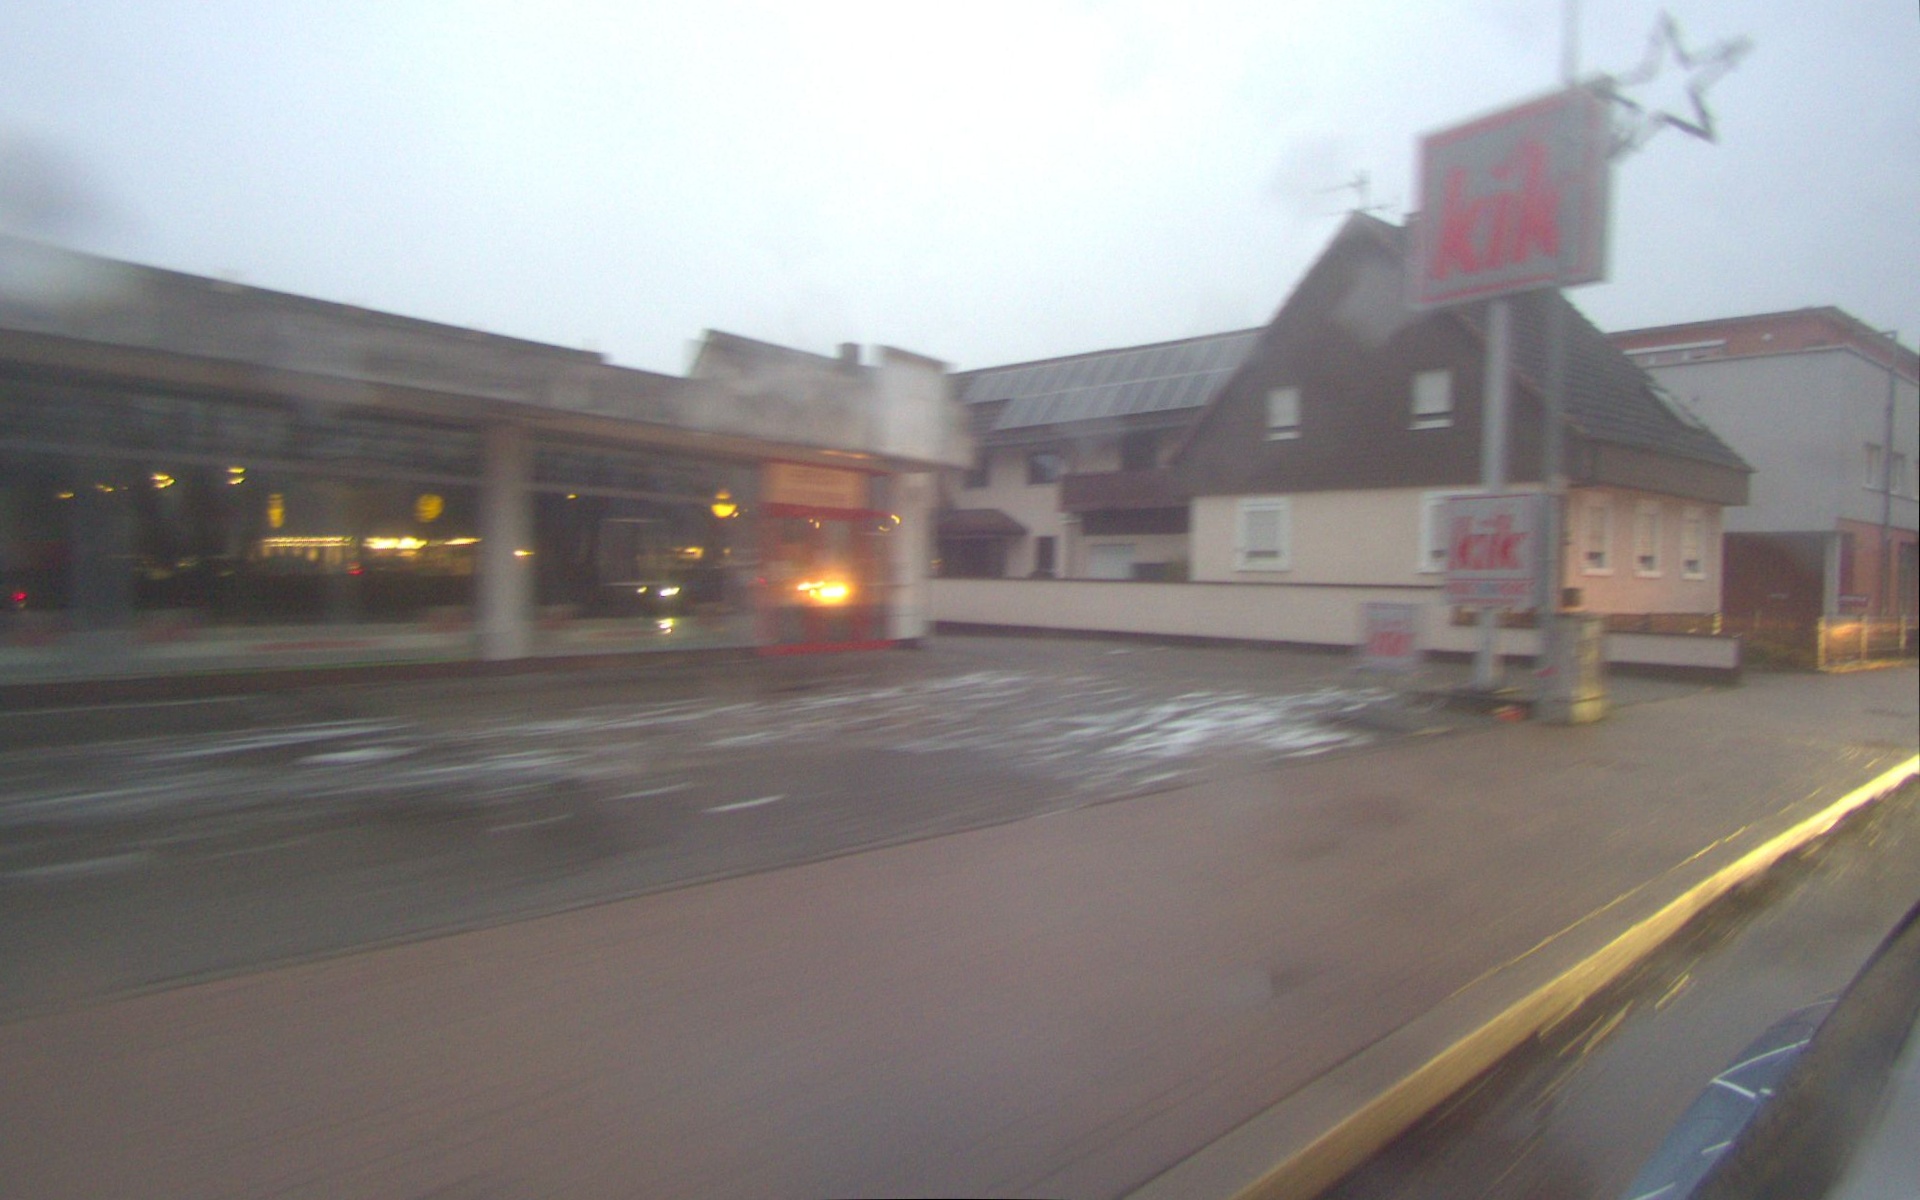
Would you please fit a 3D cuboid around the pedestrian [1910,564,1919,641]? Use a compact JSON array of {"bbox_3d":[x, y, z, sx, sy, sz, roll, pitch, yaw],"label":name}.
[{"bbox_3d":[24.481,0.101,24.910,1.278,1.888,1.259,0,3,-34],"label":"pedestrian"}]
